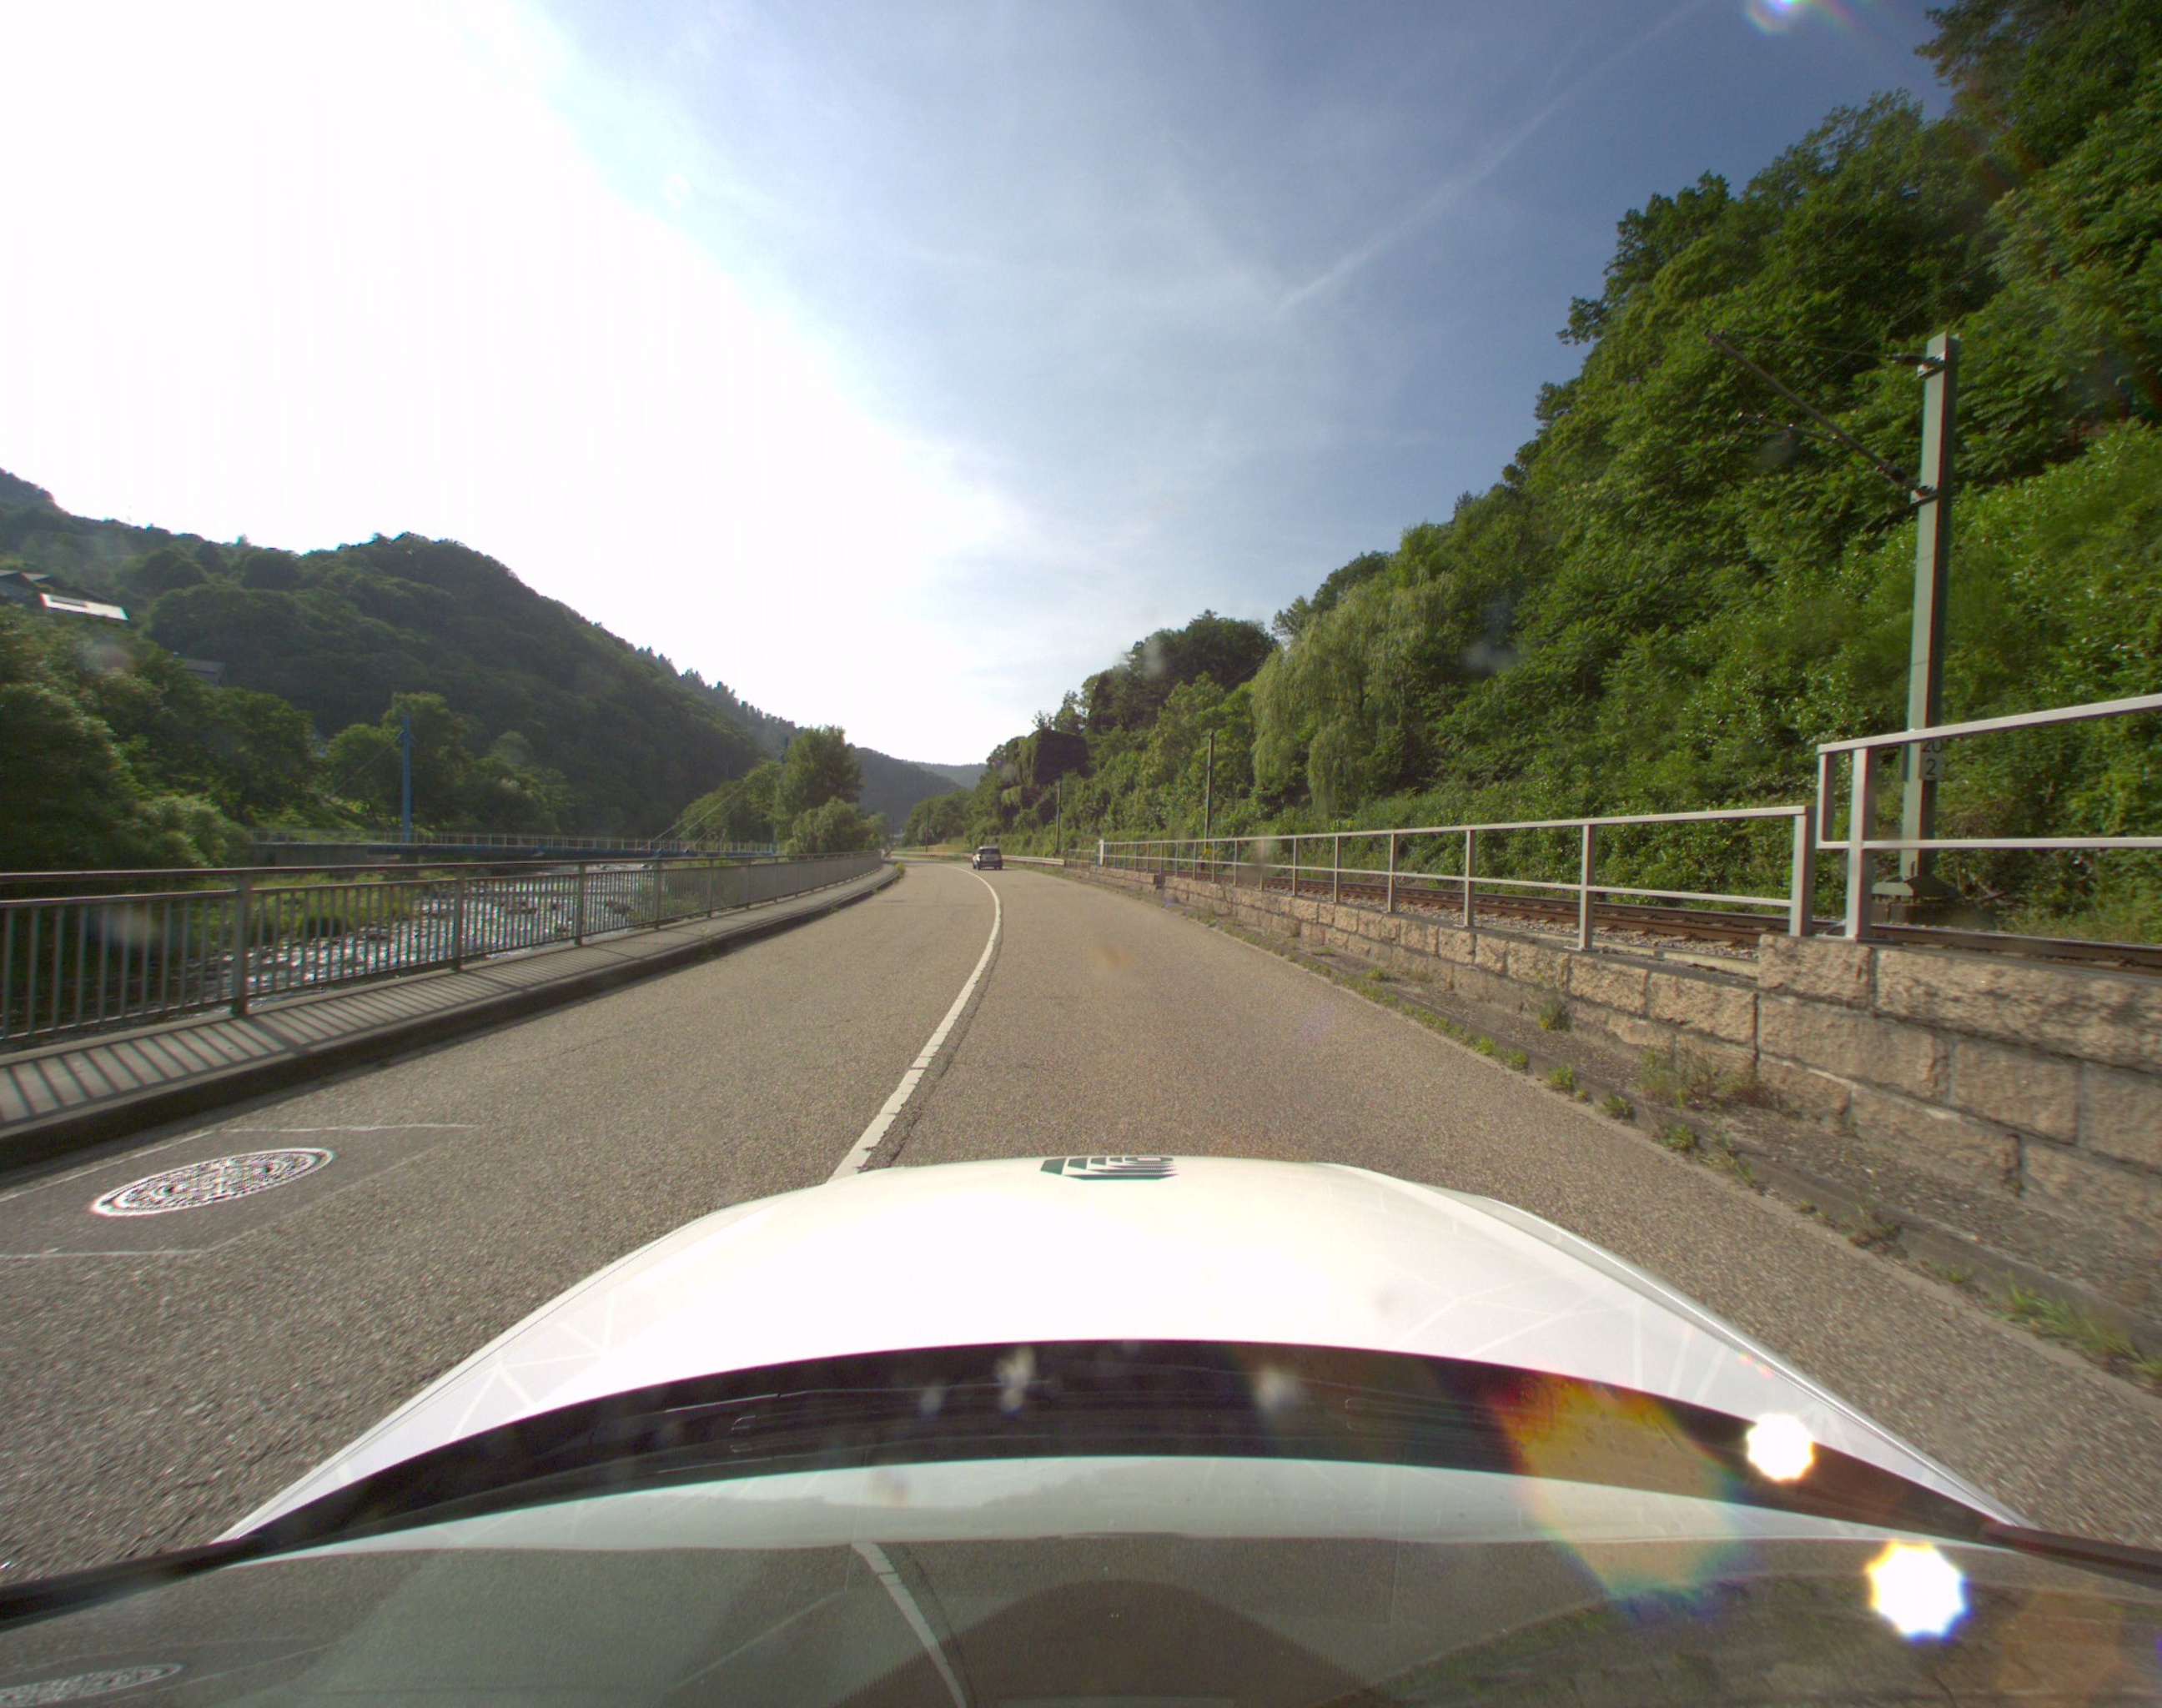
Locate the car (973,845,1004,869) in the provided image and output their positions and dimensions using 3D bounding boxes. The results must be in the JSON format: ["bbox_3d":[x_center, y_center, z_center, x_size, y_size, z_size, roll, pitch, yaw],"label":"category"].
[{"bbox_3d":[-6.677,0.217,58.615,1.874,1.656,3.983,0,0,-12],"label":"car"}]
